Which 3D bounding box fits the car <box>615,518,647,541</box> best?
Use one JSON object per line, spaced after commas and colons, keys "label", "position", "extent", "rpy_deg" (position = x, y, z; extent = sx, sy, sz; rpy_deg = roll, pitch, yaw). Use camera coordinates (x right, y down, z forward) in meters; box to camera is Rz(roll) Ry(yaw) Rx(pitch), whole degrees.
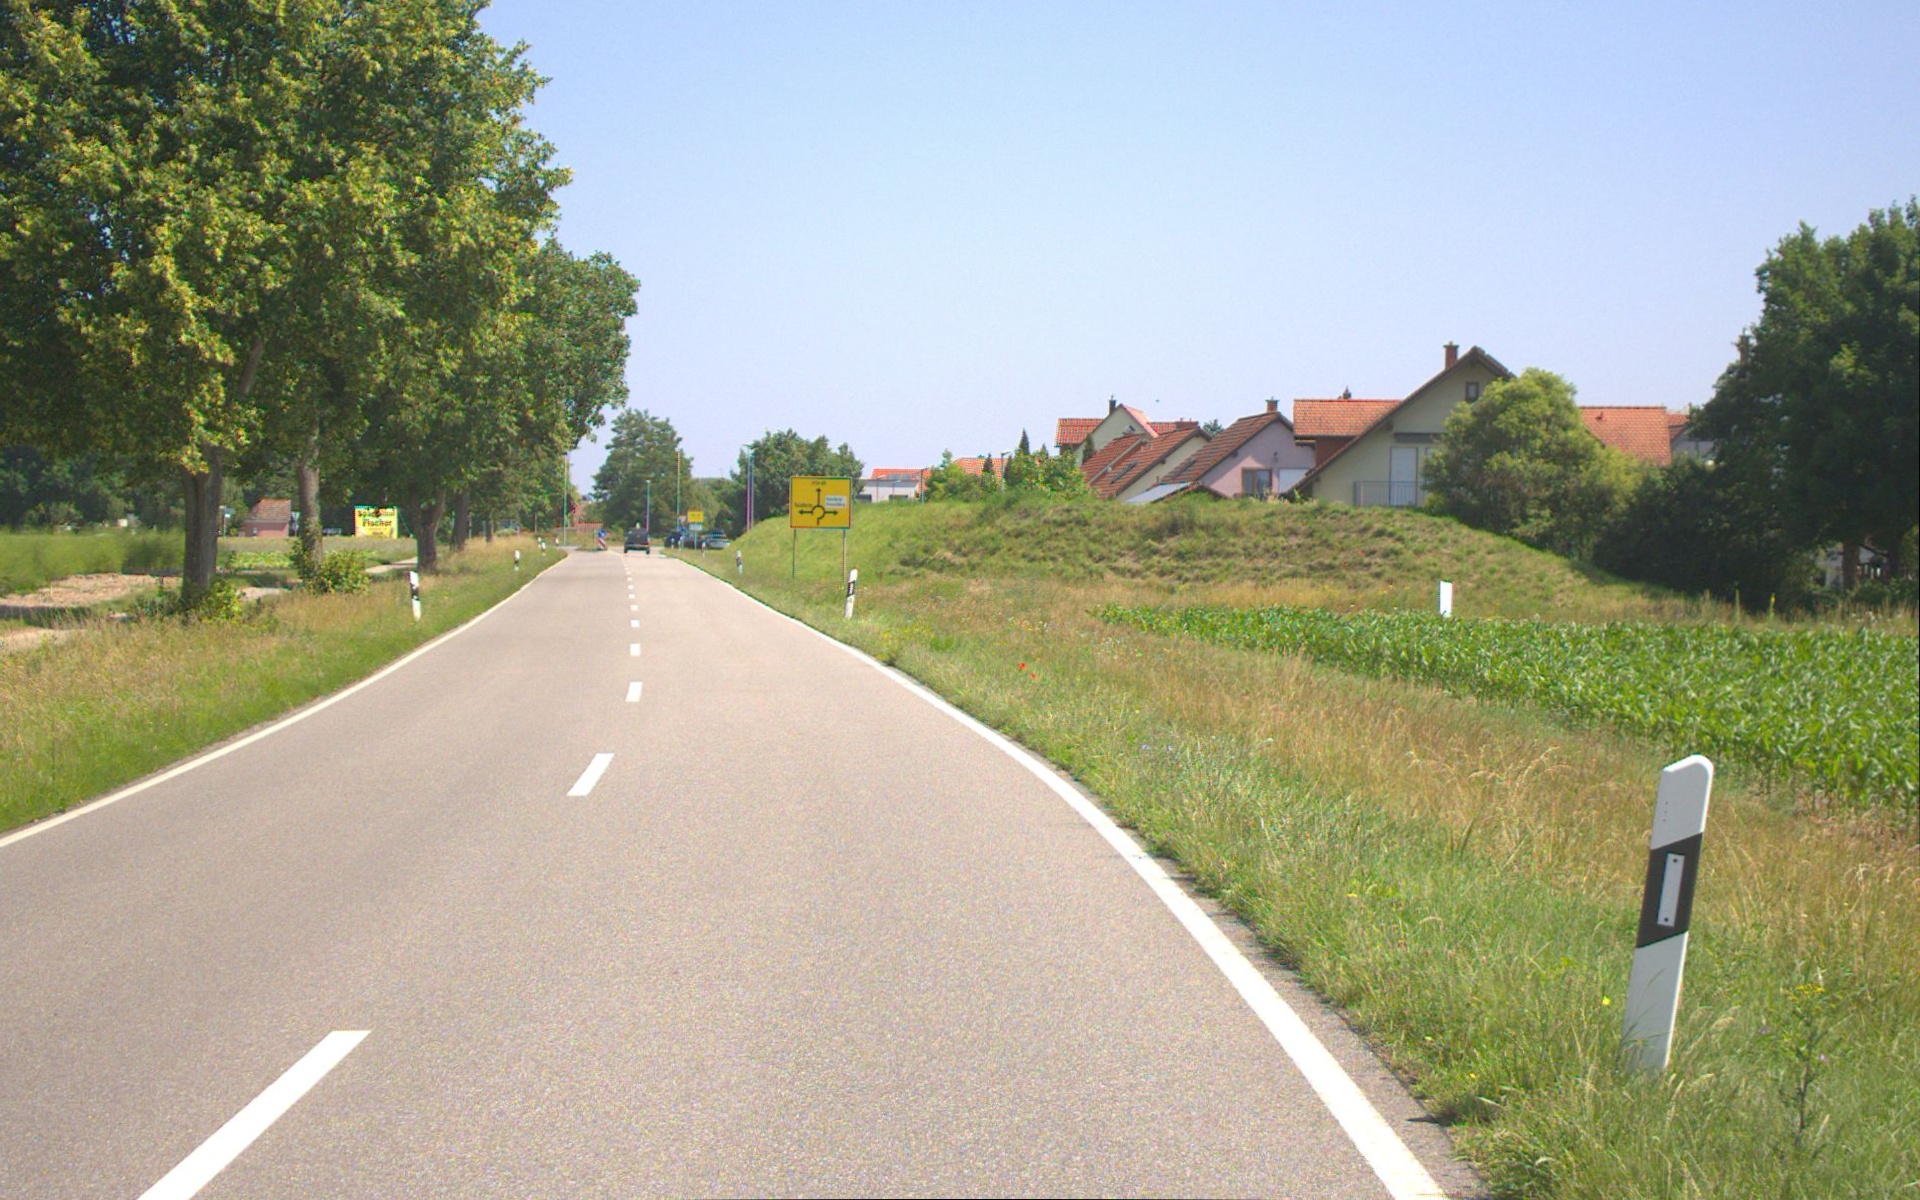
{"label": "car", "position": [-22.772, -4.878, 238.251], "extent": [1.838, 1.531, 3.610], "rpy_deg": [1, 1, 0]}
